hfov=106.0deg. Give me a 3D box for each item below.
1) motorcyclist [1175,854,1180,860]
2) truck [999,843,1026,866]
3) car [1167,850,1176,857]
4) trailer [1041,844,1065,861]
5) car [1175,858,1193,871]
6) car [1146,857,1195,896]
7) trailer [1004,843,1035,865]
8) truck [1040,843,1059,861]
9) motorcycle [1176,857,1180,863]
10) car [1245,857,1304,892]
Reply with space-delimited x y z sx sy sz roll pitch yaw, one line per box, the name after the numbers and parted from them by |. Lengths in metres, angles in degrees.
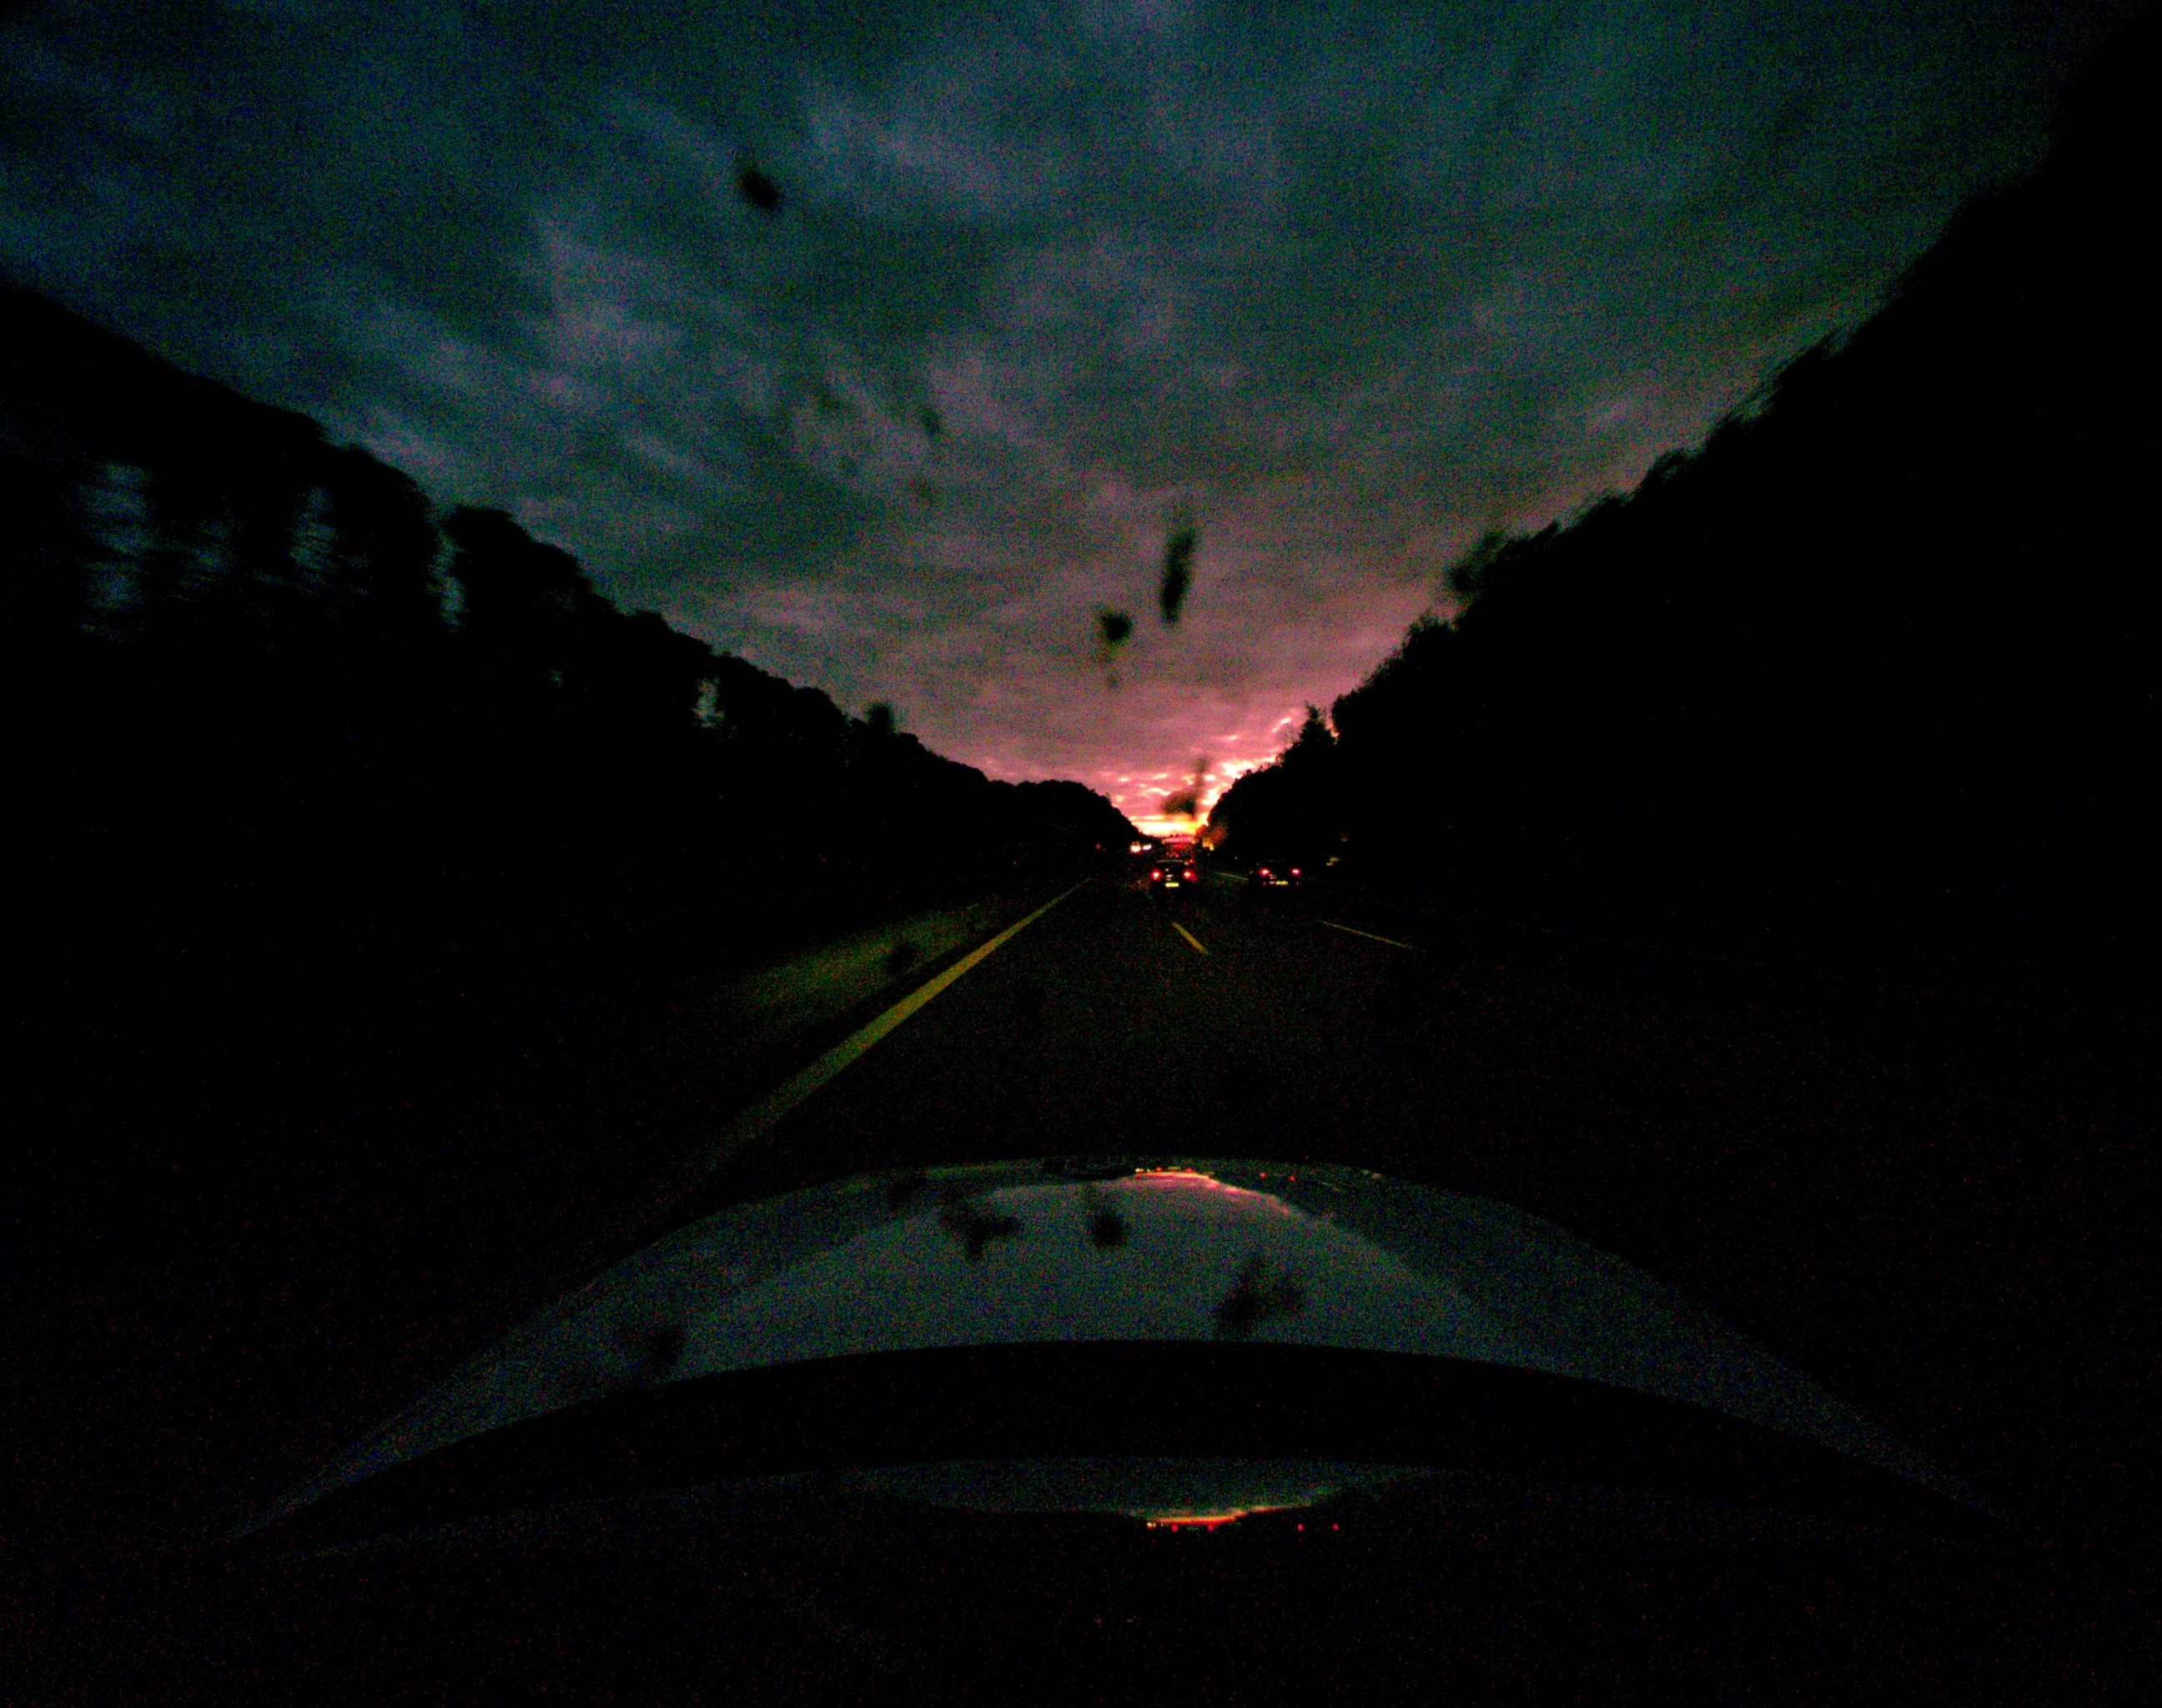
18.953 0.580 159.465 0.825 1.291 1.192 -2 0 7 | motorcyclist
-12.960 0.030 154.843 3.173 4.104 7.707 -2 0 8 | truck
20.109 -0.082 180.893 1.857 1.494 4.402 -1 -1 3 | car
-6.767 -0.391 201.022 3.173 4.104 14.217 -2 0 8 | trailer
12.305 1.275 97.488 1.818 1.476 4.402 -1 -1 3 | car
3.712 0.904 34.437 1.697 1.509 4.233 -1 -1 1 | car
-12.083 -0.035 161.155 3.173 4.104 13.771 -2 0 8 | trailer
-7.570 -0.433 195.465 3.173 4.104 7.707 -2 0 8 | truck
18.986 1.161 159.528 0.825 1.134 2.481 -2 0 7 | motorcycle
8.576 0.863 36.416 1.856 1.435 4.590 -1 0 5 | car
